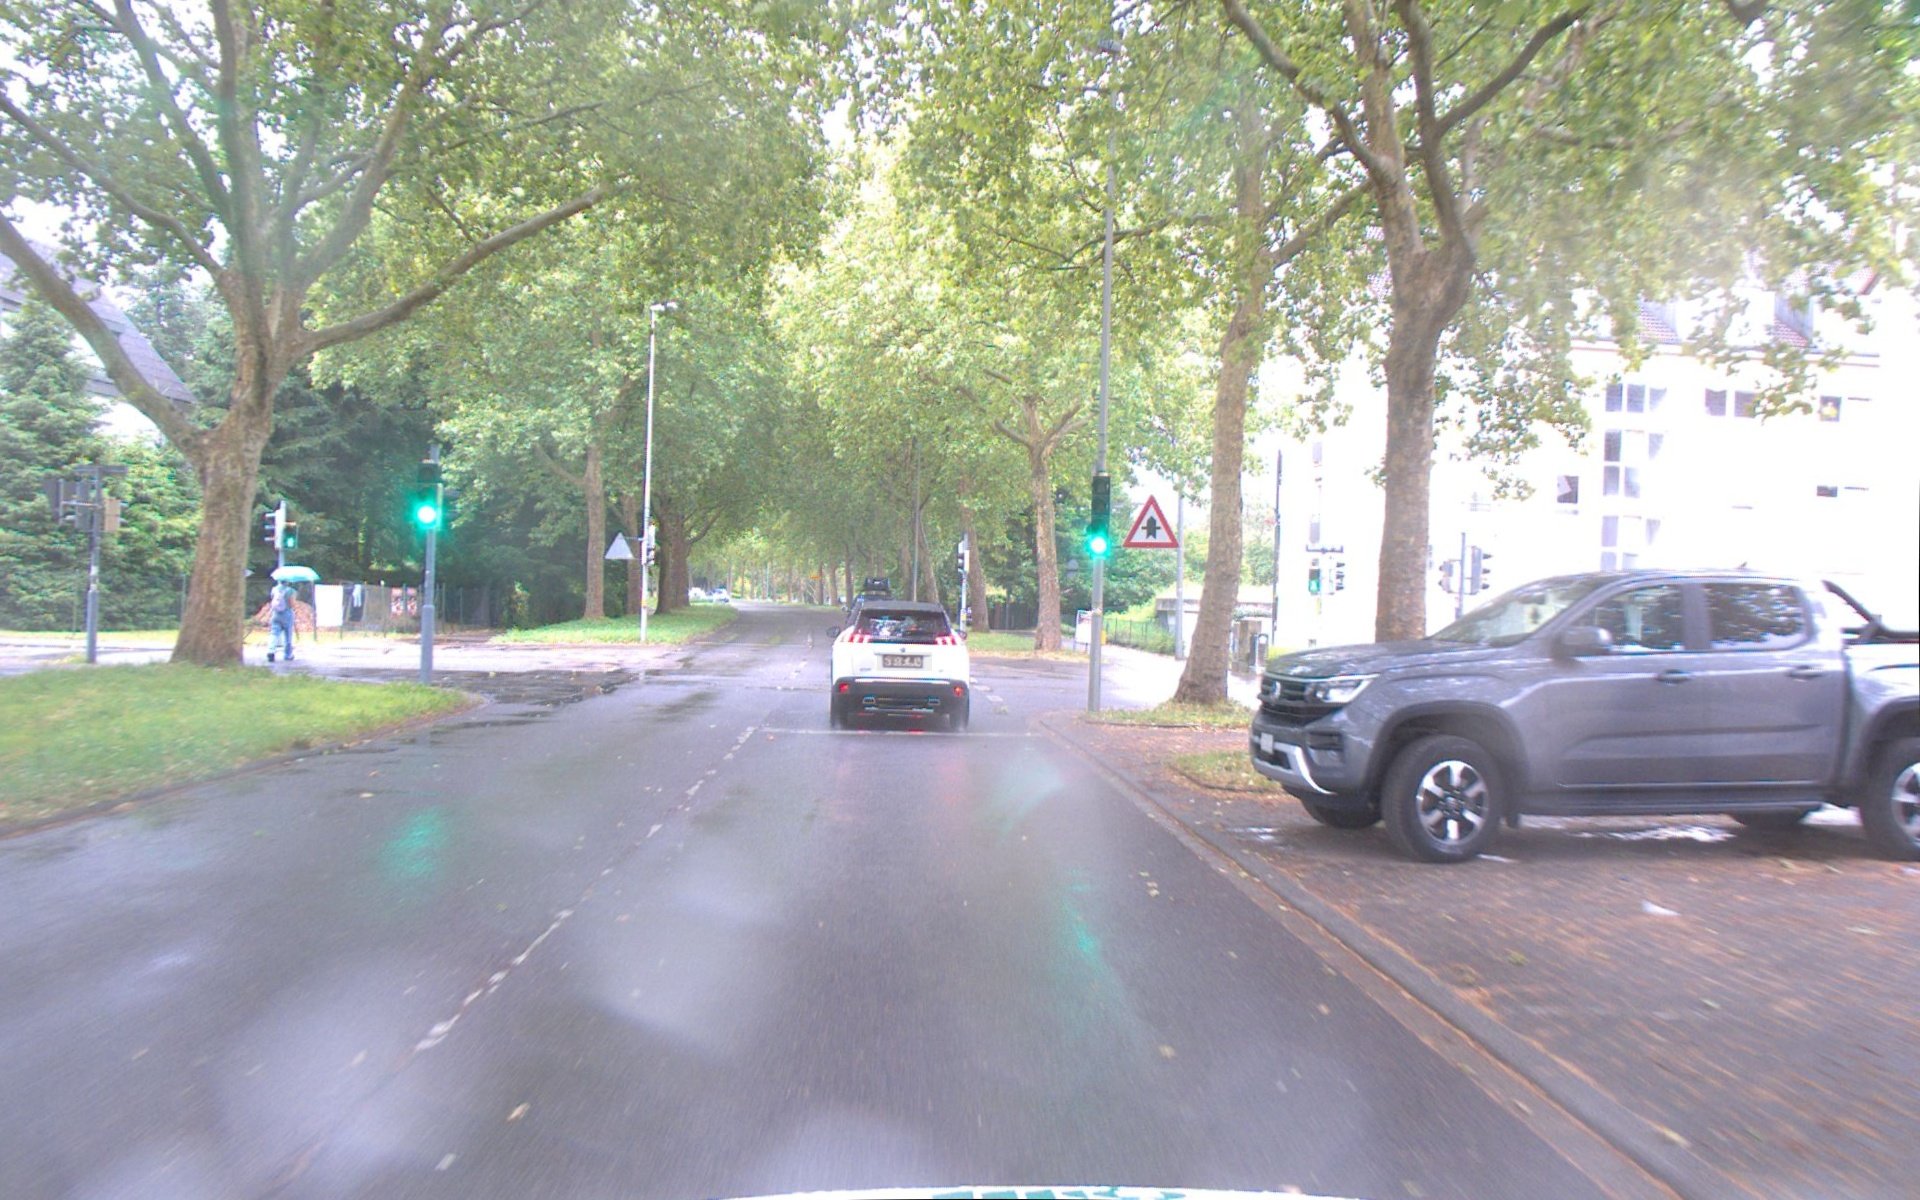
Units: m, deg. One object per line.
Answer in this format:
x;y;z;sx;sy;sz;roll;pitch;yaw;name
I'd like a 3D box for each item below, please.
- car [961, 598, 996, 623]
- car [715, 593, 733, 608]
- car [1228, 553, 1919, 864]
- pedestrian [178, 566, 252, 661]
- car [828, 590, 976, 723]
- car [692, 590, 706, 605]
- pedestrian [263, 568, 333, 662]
1.183;0.668;106.724;1.868;1.536;3.927;1;0;-5;car
-28.067;0.007;196.778;1.837;1.706;3.704;1;0;-5;car
4.595;0.659;11.048;5.238;1.838;1.842;0;0;-8;car
-14.485;0.259;32.183;1.012;1.796;0.879;1;0;-1;pedestrian
-0.730;0.703;21.859;1.744;1.563;4.056;1;-1;-1;car
-37.086;-0.367;235.267;1.708;2.049;3.659;2;0;-6;car
-13.006;0.285;32.516;1.012;1.796;0.838;1;0;-1;pedestrian
